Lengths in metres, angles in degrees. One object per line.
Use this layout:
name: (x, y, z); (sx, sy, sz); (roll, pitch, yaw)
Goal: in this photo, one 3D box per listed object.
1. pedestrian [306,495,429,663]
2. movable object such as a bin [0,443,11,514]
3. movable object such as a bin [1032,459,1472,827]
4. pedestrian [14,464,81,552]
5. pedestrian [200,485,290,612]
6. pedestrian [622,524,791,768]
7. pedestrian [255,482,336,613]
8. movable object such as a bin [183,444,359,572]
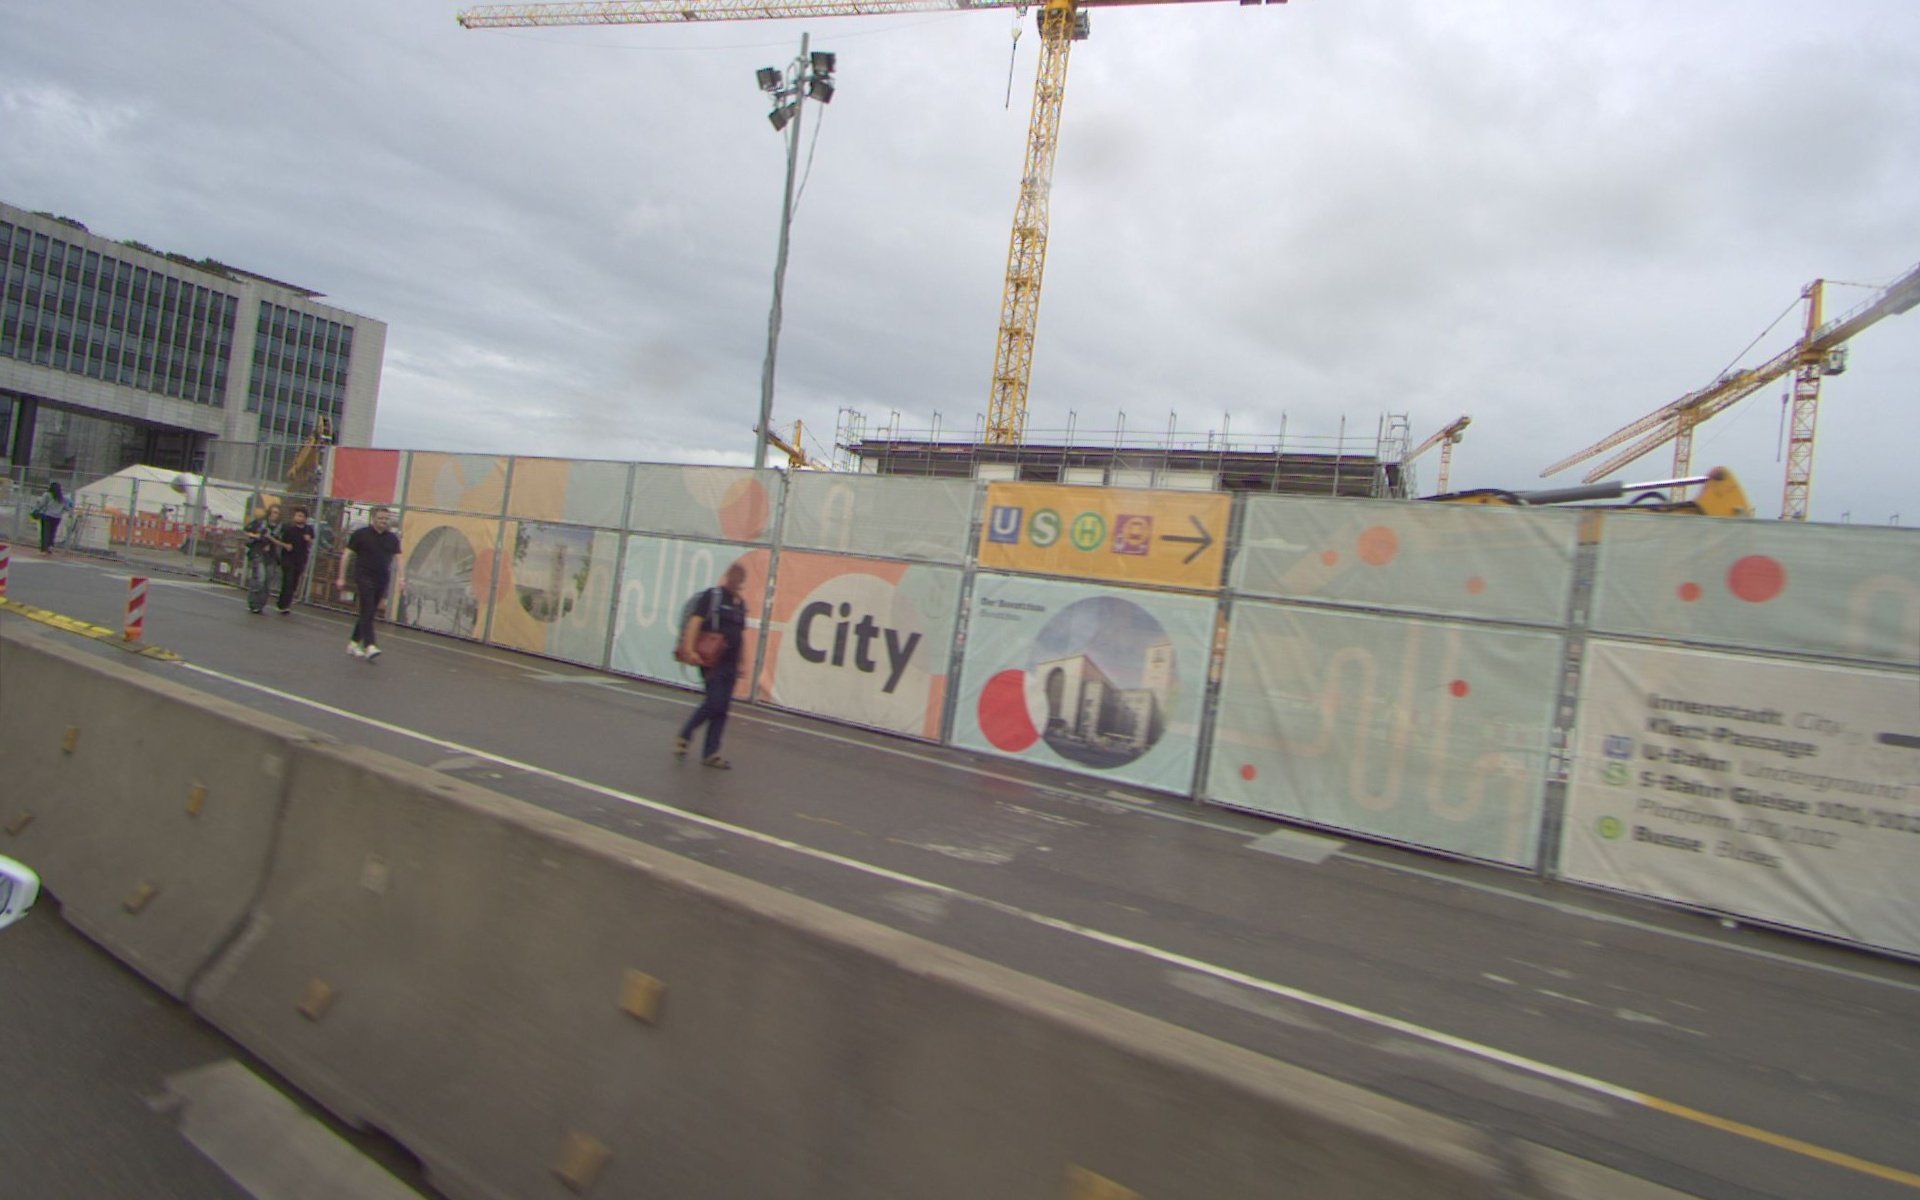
pedestrian: (-7.224, -0.249, 12.279); (0.806, 1.899, 0.797); (8, -1, 32)
movable object such as a bin: (-57.775, -7.366, 57.533); (3.627, 4.076, 3.100); (8, -1, 7)
movable object such as a bin: (3.893, 0.446, 12.912); (4.281, 3.534, 3.937); (8, 0, 29)
pedestrian: (-21.337, -2.136, 23.535); (0.671, 1.883, 0.789); (8, 0, 26)
pedestrian: (-11.346, -0.807, 15.968); (0.616, 1.855, 0.797); (8, -1, 32)
pedestrian: (-2.086, 0.389, 8.359); (0.675, 1.855, 0.927); (8, -1, 32)
pedestrian: (-11.050, -0.867, 16.733); (0.675, 2.038, 0.680); (9, 1, 31)
movable object such as a bin: (-23.691, -3.131, 34.597); (4.297, 3.534, 3.922); (8, 0, 44)
